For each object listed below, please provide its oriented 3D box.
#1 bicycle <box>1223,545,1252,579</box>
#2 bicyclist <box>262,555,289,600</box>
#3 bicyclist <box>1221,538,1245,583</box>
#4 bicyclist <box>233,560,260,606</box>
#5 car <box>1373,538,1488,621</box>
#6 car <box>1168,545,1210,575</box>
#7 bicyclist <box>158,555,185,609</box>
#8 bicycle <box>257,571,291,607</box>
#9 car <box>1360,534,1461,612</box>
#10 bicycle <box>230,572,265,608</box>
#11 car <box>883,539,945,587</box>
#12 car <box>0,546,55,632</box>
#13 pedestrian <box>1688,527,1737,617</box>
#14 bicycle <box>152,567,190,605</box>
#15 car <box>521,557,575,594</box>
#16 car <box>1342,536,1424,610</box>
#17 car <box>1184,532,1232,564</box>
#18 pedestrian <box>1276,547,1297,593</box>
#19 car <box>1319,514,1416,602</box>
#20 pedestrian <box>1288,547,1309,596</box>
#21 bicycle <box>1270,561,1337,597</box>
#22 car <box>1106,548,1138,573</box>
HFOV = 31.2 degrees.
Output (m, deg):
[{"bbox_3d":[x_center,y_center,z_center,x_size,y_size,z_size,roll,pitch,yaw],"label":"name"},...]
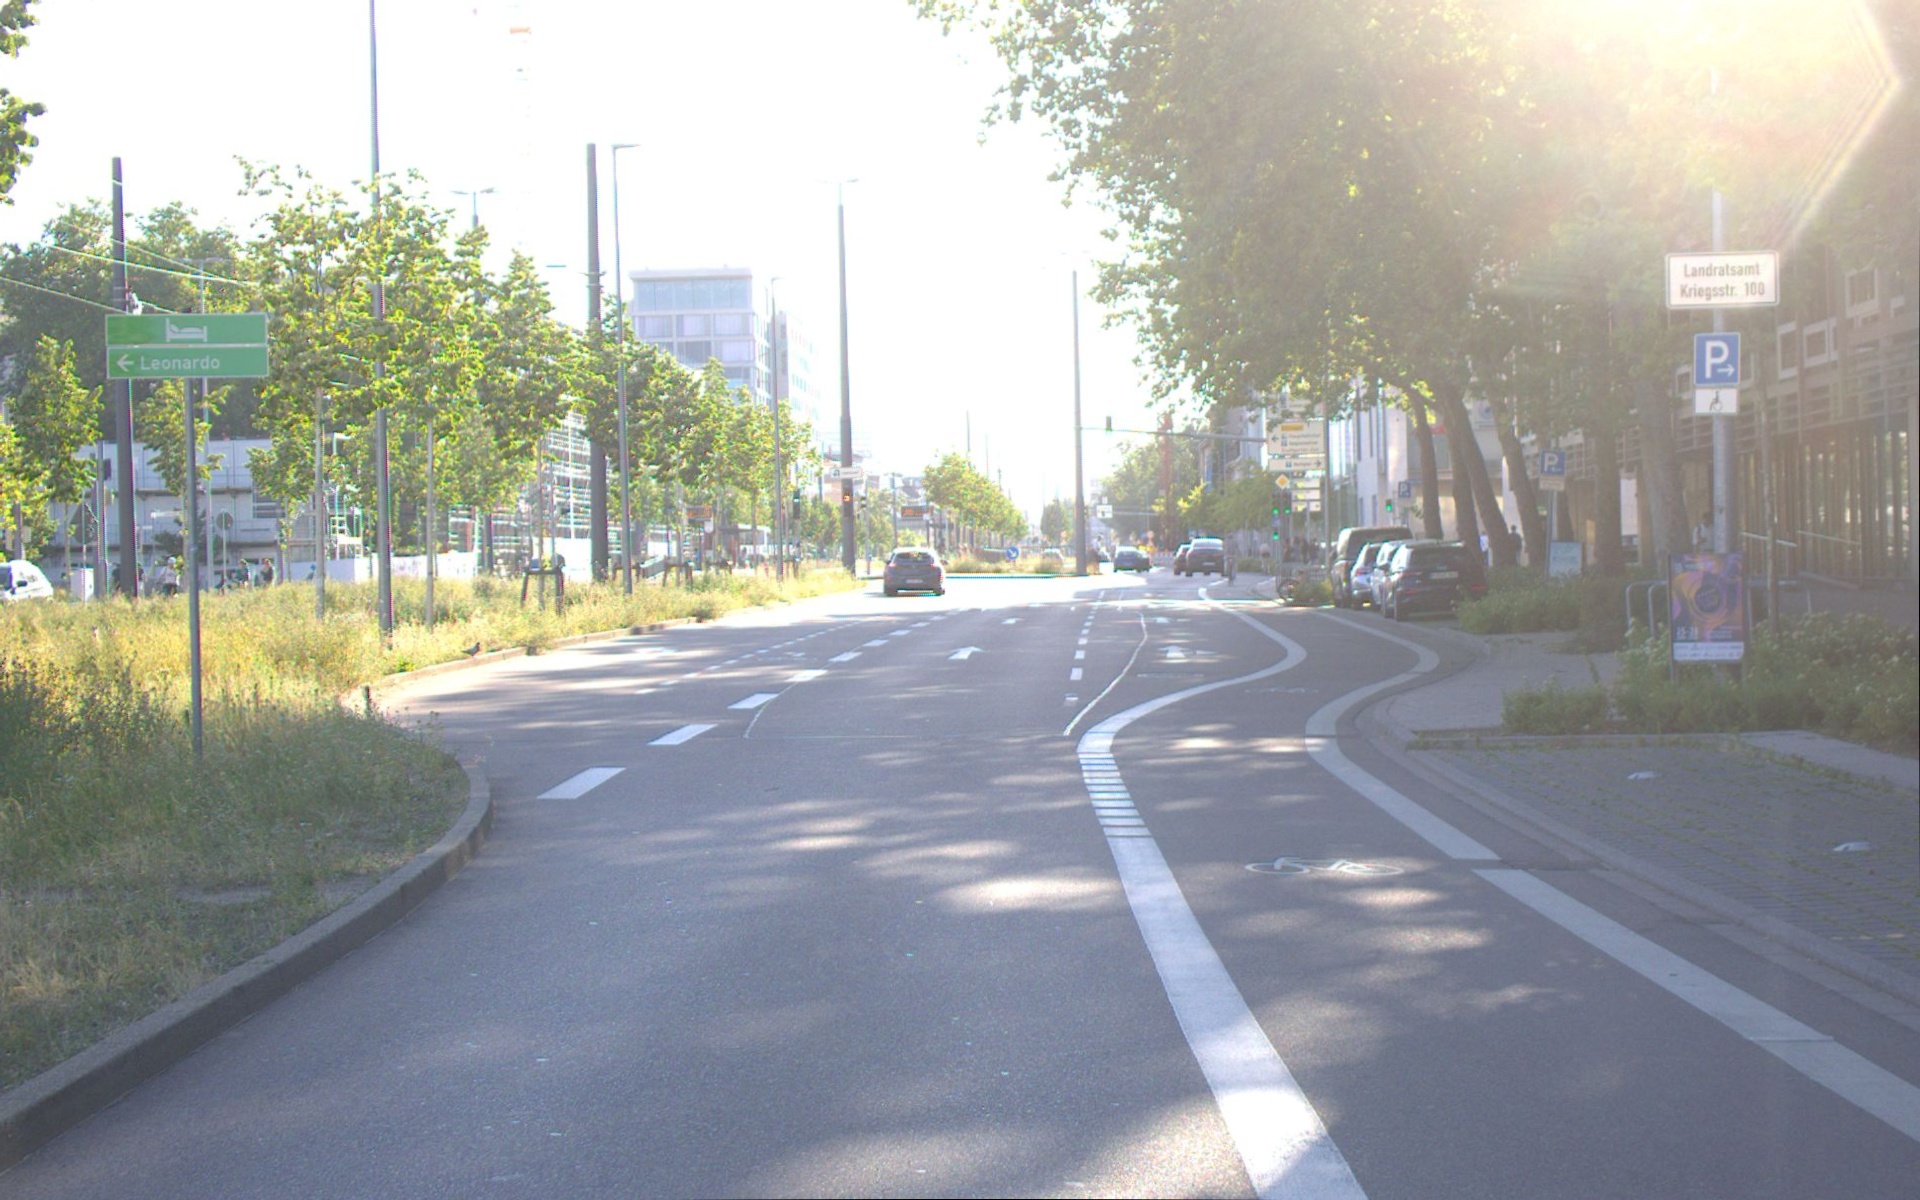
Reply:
[{"bbox_3d":[9.986,-1.365,123.603,0.800,1.200,2.263,-1,1,11],"label":"bicycle"},{"bbox_3d":[-22.037,-0.730,110.624,0.583,1.437,1.075,-1,1,3],"label":"bicyclist"},{"bbox_3d":[9.817,-1.430,123.727,0.800,1.596,0.785,-1,1,1],"label":"bicyclist"},{"bbox_3d":[-22.789,-0.546,109.855,0.583,1.437,1.075,-1,1,3],"label":"bicyclist"},{"bbox_3d":[8.806,-0.409,64.666,1.706,1.413,4.276,-3,1,3],"label":"car"},{"bbox_3d":[11.860,-2.069,178.218,1.940,1.479,3.926,-1,1,1],"label":"car"},{"bbox_3d":[-22.299,-0.516,97.283,0.557,1.502,0.668,-1,1,3],"label":"bicyclist"},{"bbox_3d":[-22.039,-0.364,110.466,0.583,1.101,1.987,-1,1,3],"label":"bicycle"},{"bbox_3d":[9.296,-0.582,71.187,1.681,1.473,3.874,-3,1,3],"label":"car"},{"bbox_3d":[-22.778,-0.330,109.912,0.583,1.101,1.987,-1,1,3],"label":"bicycle"},{"bbox_3d":[-1.396,-1.157,105.659,1.777,1.423,4.000,0,1,1],"label":"car"},{"bbox_3d":[-20.540,-0.227,71.854,1.870,1.759,4.813,-1,1,1],"label":"car"},{"bbox_3d":[15.599,-0.586,71.250,0.831,1.850,0.847,-1,1,2],"label":"pedestrian"},{"bbox_3d":[-22.309,-0.406,97.238,0.559,1.056,1.898,-1,1,3],"label":"bicycle"},{"bbox_3d":[-20.386,-1.220,170.253,1.993,1.770,4.000,-1,1,2],"label":"car"},{"bbox_3d":[9.441,-0.632,76.896,1.682,1.509,5.058,-3,1,6],"label":"car"},{"bbox_3d":[11.341,-2.374,157.424,1.940,1.423,3.926,-1,1,1],"label":"car"},{"bbox_3d":[11.396,-1.049,119.952,0.634,1.602,0.570,-3,1,3],"label":"pedestrian"},{"bbox_3d":[9.778,-1.028,82.818,1.829,1.964,5.321,-3,1,3],"label":"car"},{"bbox_3d":[11.876,-1.003,120.666,0.634,1.697,0.570,-3,1,3],"label":"pedestrian"},{"bbox_3d":[9.108,-0.551,91.203,1.693,0.864,0.572,-3,1,11],"label":"bicycle"},{"bbox_3d":[10.023,-2.432,212.786,1.759,1.479,3.850,-1,1,1],"label":"car"}]
